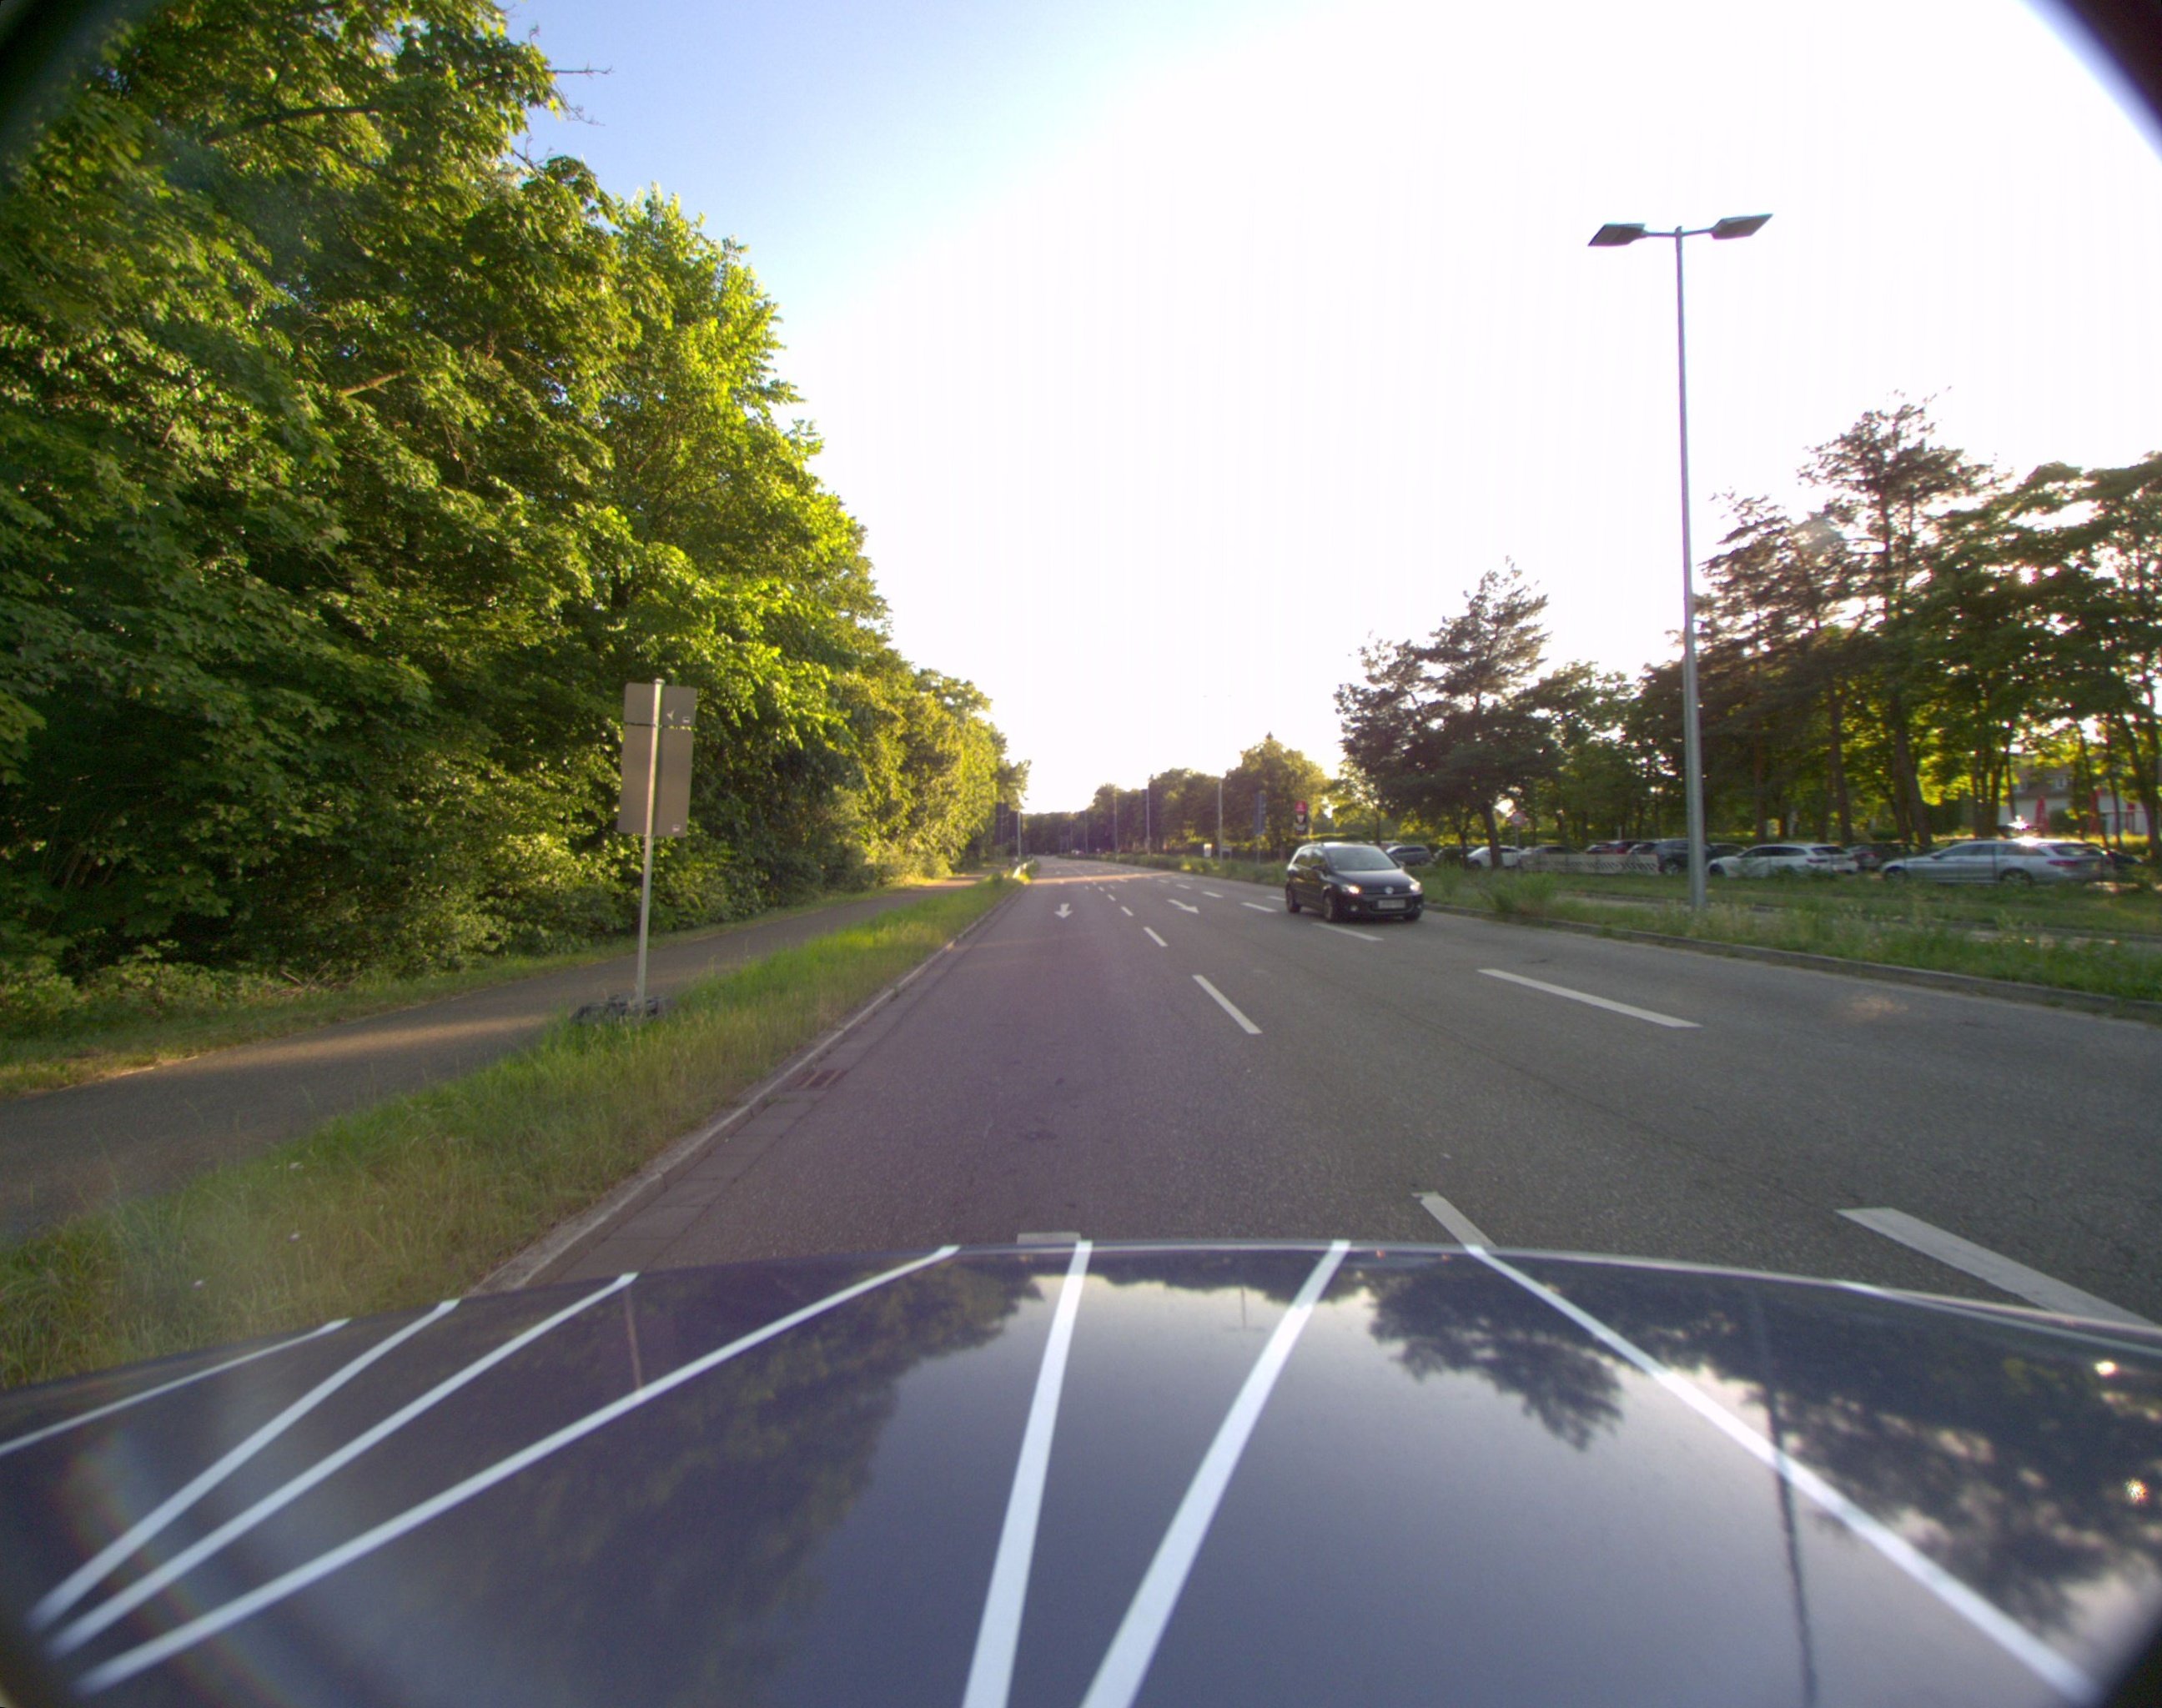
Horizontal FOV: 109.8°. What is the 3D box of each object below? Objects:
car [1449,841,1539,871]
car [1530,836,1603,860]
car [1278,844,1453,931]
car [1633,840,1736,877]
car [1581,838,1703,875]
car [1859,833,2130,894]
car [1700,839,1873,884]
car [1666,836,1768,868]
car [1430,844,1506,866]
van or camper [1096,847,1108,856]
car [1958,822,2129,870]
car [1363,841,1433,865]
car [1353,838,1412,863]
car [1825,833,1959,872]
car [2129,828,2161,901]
[{"bbox_3d":[25.169,0.128,46.404,4.497,1.743,1.909,-1,1,-1],"label":"car"},{"bbox_3d":[34.121,-0.403,53.481,3.997,1.641,1.766,-1,1,-1],"label":"car"},{"bbox_3d":[5.681,0.599,15.766,1.999,1.543,3.999,-1,0,-3],"label":"car"},{"bbox_3d":[25.816,0.180,32.568,3.099,1.518,1.659,-1,1,-2],"label":"car"},{"bbox_3d":[26.356,0.110,35.770,4.525,1.608,1.771,-1,1,-3],"label":"car"},{"bbox_3d":[26.776,0.245,22.625,1.999,1.597,4.920,-1,1,-4],"label":"car"},{"bbox_3d":[26.421,0.255,28.734,1.999,1.539,4.708,-1,1,-4],"label":"car"},{"bbox_3d":[34.080,-0.122,40.800,3.997,1.641,1.766,-1,1,-1],"label":"car"},{"bbox_3d":[24.769,0.065,48.655,3.997,1.304,1.732,-1,1,-1],"label":"car"},{"bbox_3d":[4.826,-0.570,175.676,1.999,2.002,4.575,-1,0,-6],"label":"van or camper"},{"bbox_3d":[34.981,-0.288,27.689,3.997,1.641,1.766,-1,1,-1],"label":"car"},{"bbox_3d":[24.169,-0.100,58.028,4.498,1.787,1.909,-1,1,-2],"label":"car"},{"bbox_3d":[24.211,-0.253,61.067,3.998,1.933,1.766,-1,1,-2],"label":"car"},{"bbox_3d":[35.421,-0.075,33.245,3.997,1.641,1.766,-1,1,-1],"label":"car"},{"bbox_3d":[27.107,0.256,16.418,1.999,1.776,4.920,-1,1,-4],"label":"car"}]
